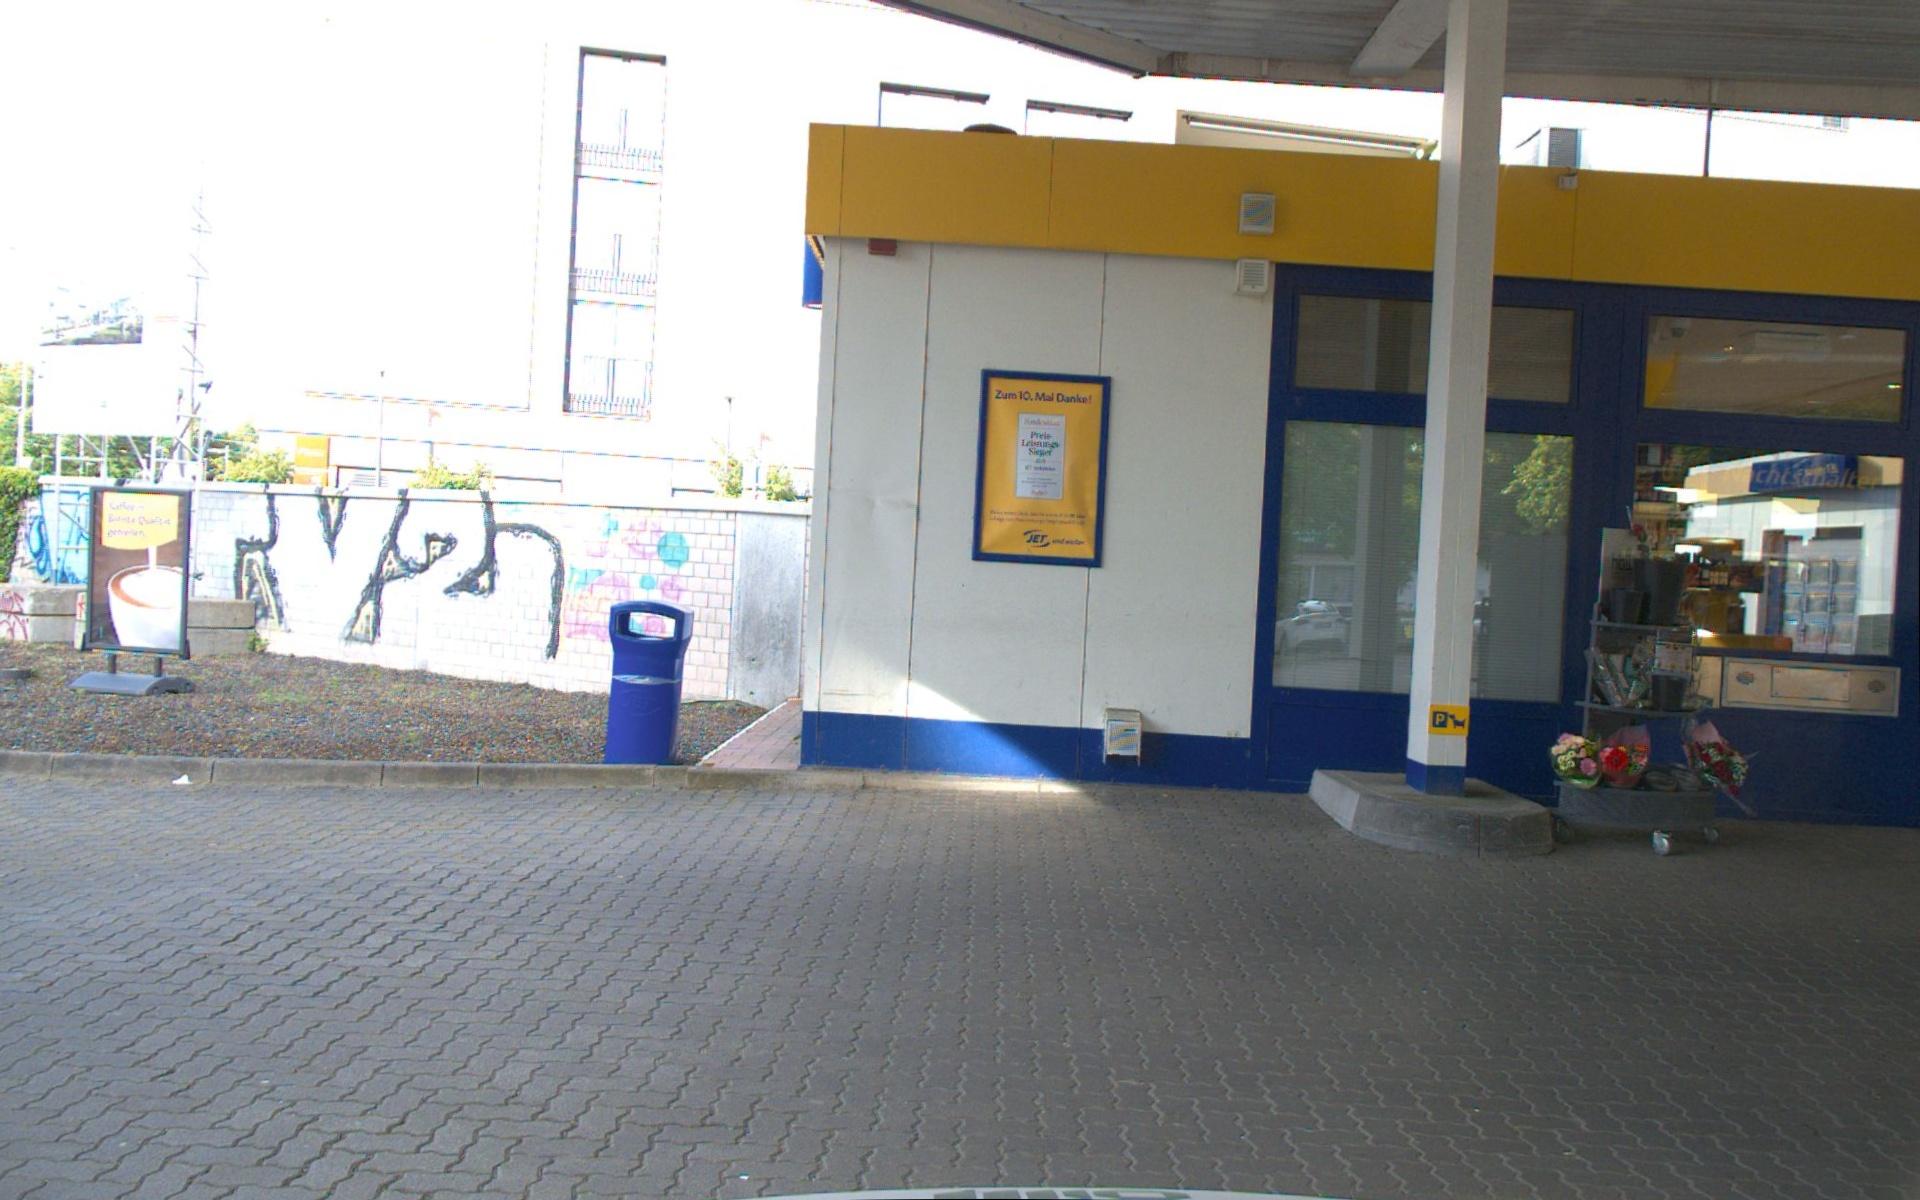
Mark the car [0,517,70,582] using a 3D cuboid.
[{"bbox_3d":[-25.220,-1.391,44.186,1.698,1.569,3.982,4,1,-17],"label":"car"}]
